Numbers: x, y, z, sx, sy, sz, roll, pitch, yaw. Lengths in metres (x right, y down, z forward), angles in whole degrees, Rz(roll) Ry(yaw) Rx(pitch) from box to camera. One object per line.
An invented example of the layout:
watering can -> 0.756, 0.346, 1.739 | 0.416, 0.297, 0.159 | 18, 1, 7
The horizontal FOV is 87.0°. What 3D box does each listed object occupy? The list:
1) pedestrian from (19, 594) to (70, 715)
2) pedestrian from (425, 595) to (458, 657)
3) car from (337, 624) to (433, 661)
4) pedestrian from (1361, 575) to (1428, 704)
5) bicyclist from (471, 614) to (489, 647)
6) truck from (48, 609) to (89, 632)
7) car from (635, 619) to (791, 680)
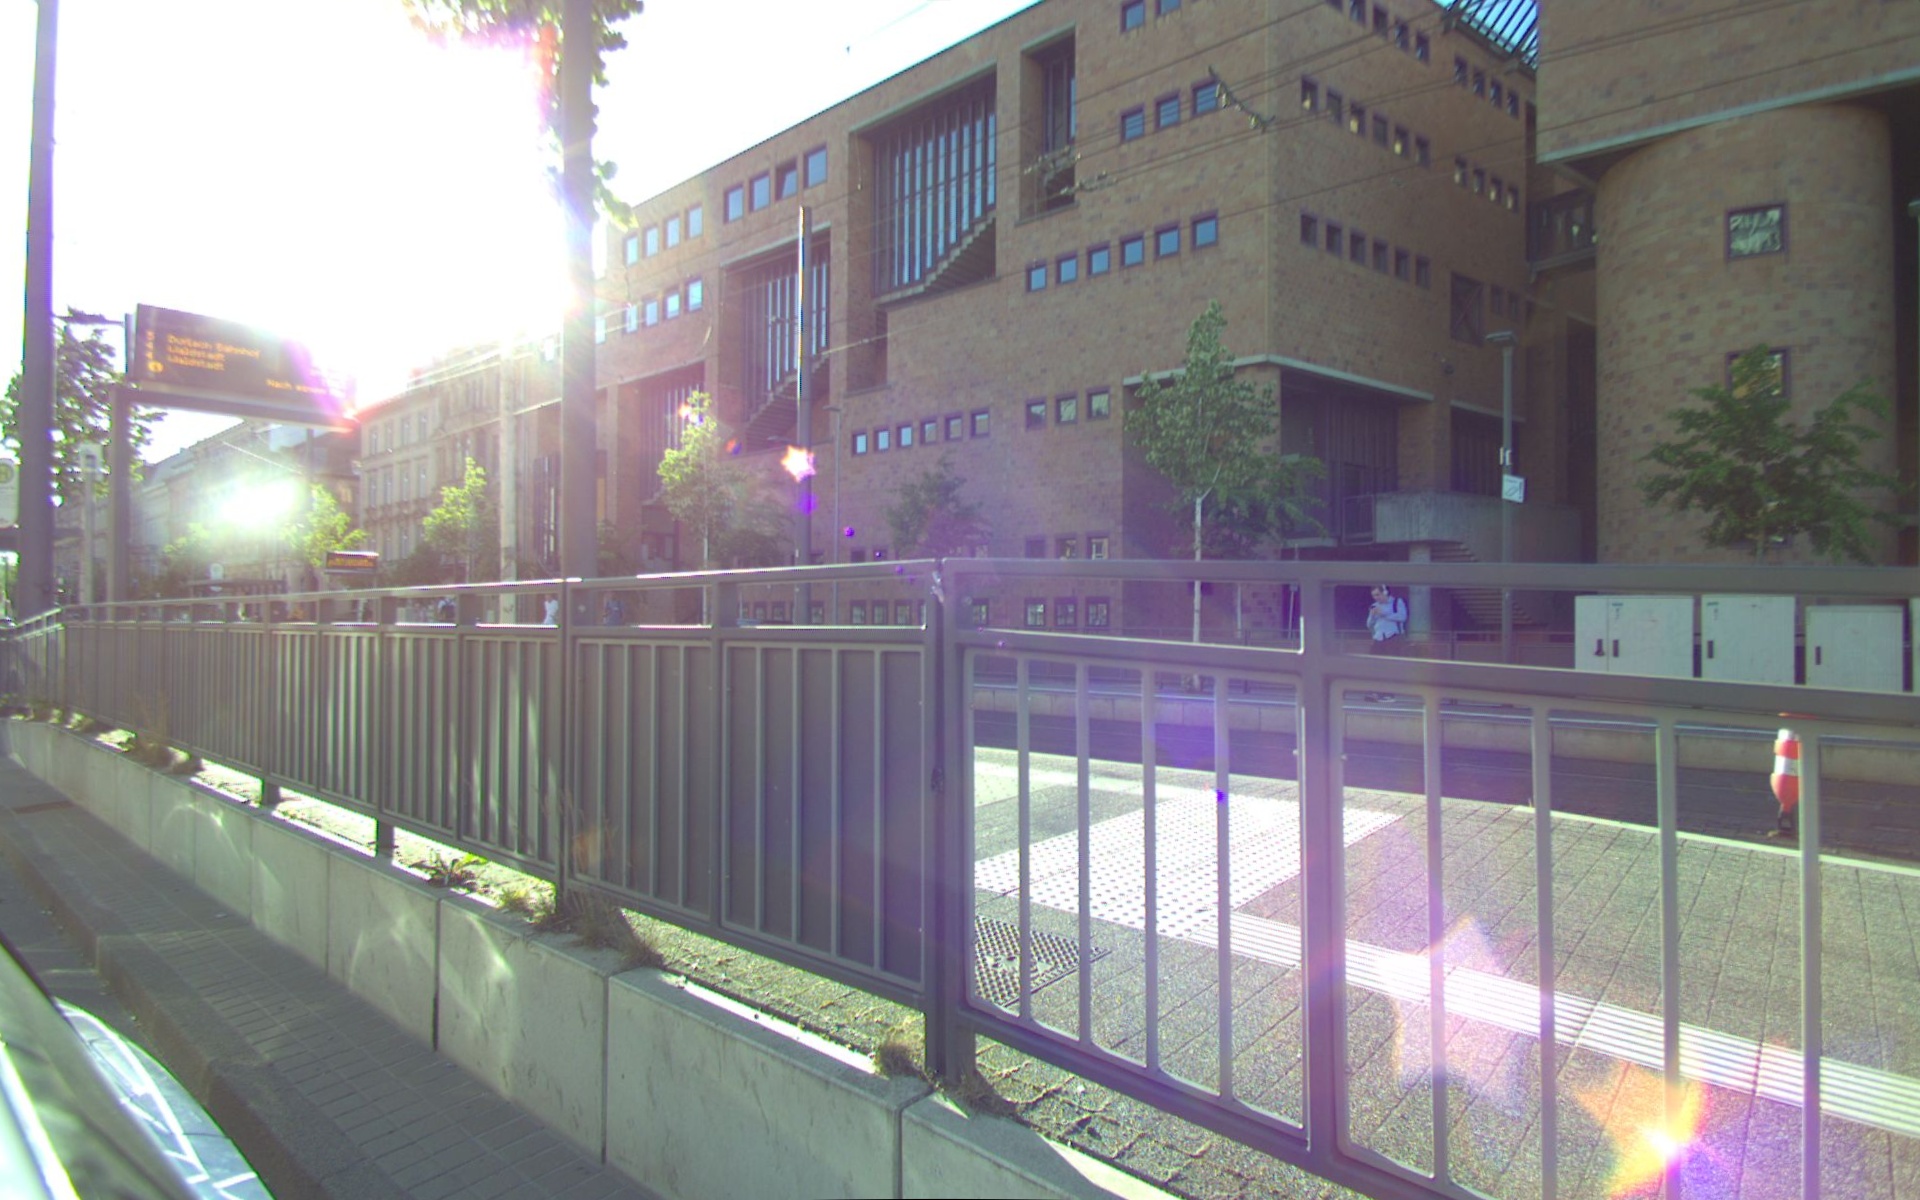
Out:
pedestrian -> -19.027, 1.115, 21.041 | 0.625, 2.461, 0.676 | 0, 0, 38
pedestrian -> -15.571, 0.759, 30.385 | 0.668, 1.821, 0.677 | 0, 0, 40
car -> -23.673, 1.721, 41.620 | 4.522, 1.441, 1.808 | -1, -2, 37
pedestrian -> 5.766, 0.503, 13.426 | 0.684, 1.647, 0.660 | 0, 0, 37
bicyclist -> -23.025, 1.465, 48.554 | 0.650, 1.545, 0.580 | 0, 0, 41
truck -> -80.597, 1.886, 91.462 | 5.151, 1.894, 1.973 | -2, -4, 40
car -> -6.649, 1.262, 27.053 | 4.234, 1.441, 1.808 | 0, 0, 37
